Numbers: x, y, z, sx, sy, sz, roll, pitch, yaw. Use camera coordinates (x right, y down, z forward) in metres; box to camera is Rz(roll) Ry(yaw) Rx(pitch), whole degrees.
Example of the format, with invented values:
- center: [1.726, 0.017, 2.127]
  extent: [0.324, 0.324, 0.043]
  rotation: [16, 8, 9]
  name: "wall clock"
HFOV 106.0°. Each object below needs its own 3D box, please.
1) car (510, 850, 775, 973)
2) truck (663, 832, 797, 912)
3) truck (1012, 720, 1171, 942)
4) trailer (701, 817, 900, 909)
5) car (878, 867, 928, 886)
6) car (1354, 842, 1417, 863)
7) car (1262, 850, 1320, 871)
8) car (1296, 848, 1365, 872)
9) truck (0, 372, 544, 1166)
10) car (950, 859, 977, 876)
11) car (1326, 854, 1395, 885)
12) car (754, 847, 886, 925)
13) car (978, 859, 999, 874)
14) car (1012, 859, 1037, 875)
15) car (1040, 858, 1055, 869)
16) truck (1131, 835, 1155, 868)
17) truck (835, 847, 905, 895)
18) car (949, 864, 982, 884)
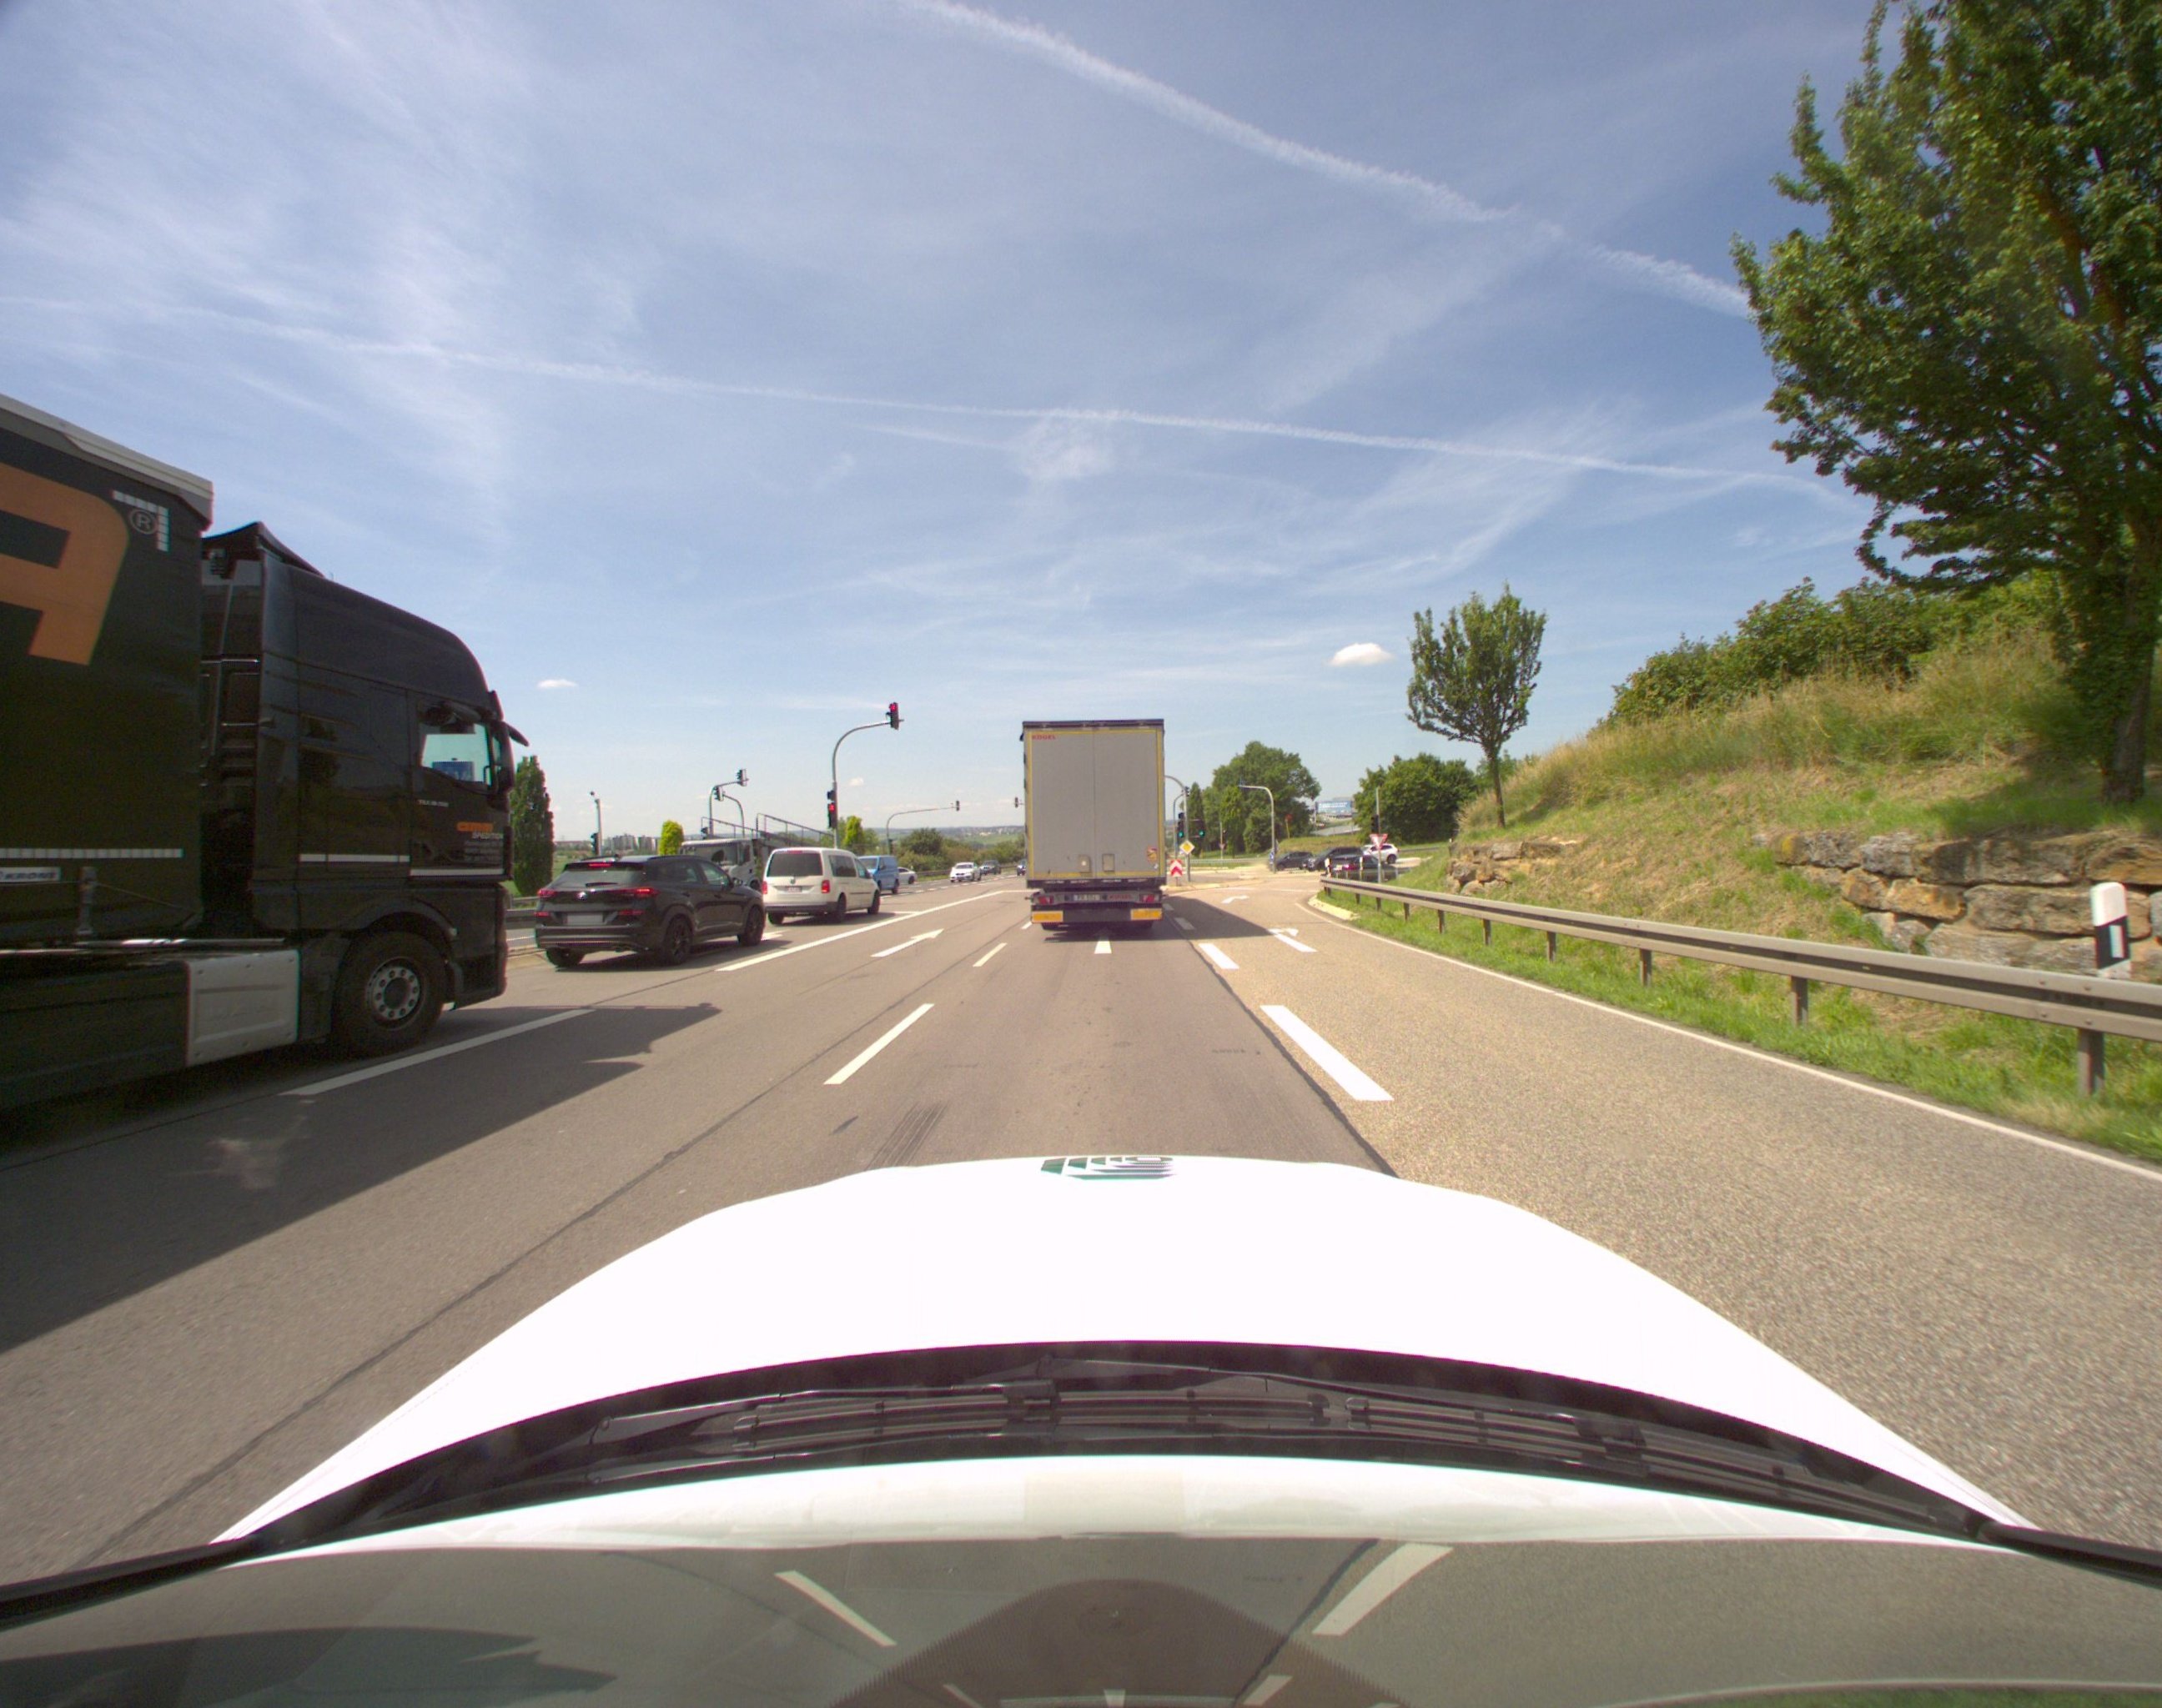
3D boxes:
- center: [-6.800, 0.790, 13.289]
  extent: [1.849, 1.657, 4.350]
  rotation: [-1, 0, 2]
  name: "car"
- center: [-14.600, 0.724, 34.442]
  extent: [2.788, 3.013, 5.993]
  rotation: [-2, -1, 3]
  name: "truck"
- center: [0.255, -0.388, 20.176]
  extent: [2.790, 3.929, 11.341]
  rotation: [-1, 0, 1]
  name: "truck"
- center: [-13.996, 0.510, 44.086]
  extent: [2.627, 3.763, 19.817]
  rotation: [-2, -1, 4]
  name: "trailer"
- center: [-14.427, 1.814, 66.309]
  extent: [1.613, 1.460, 4.518]
  rotation: [-1, -1, 23]
  name: "car"
- center: [24.487, -0.123, 65.523]
  extent: [4.354, 1.592, 1.776]
  rotation: [-2, -1, -7]
  name: "car"
- center: [16.437, 0.485, 63.824]
  extent: [3.983, 1.510, 1.712]
  rotation: [-2, -1, -7]
  name: "car"
- center: [17.605, 0.419, 57.626]
  extent: [4.358, 1.510, 1.710]
  rotation: [-2, -1, -10]
  name: "car"
- center: [-6.819, -0.413, 5.149]
  extent: [2.773, 4.013, 5.972]
  rotation: [-1, 0, 1]
  name: "truck"
- center: [-11.261, 1.311, 78.313]
  extent: [1.637, 1.497, 3.805]
  rotation: [-3, -1, 4]
  name: "car"
- center: [14.368, 0.764, 41.787]
  extent: [1.729, 1.532, 4.324]
  rotation: [-2, -1, 43]
  name: "car"
- center: [-6.612, 0.750, 21.234]
  extent: [1.761, 1.798, 4.753]
  rotation: [-1, 0, 2]
  name: "car"
- center: [-10.383, 1.392, 91.681]
  extent: [1.637, 1.623, 4.330]
  rotation: [-4, -1, 3]
  name: "car"
- center: [-5.224, 1.211, 75.582]
  extent: [1.747, 1.469, 4.200]
  rotation: [1, -1, 4]
  name: "car"
- center: [-4.820, 1.390, 118.548]
  extent: [1.637, 1.496, 4.070]
  rotation: [-4, 0, 4]
  name: "car"
- center: [7.555, -0.268, 99.348]
  extent: [2.643, 3.765, 10.173]
  rotation: [-1, -1, 4]
  name: "truck"
- center: [-10.299, 0.841, 40.094]
  extent: [1.958, 2.157, 4.627]
  rotation: [-2, -1, 3]
  name: "truck"
- center: [-8.859, 1.508, 62.879]
  extent: [1.765, 1.434, 4.002]
  rotation: [-2, -1, 2]
  name: "car"
